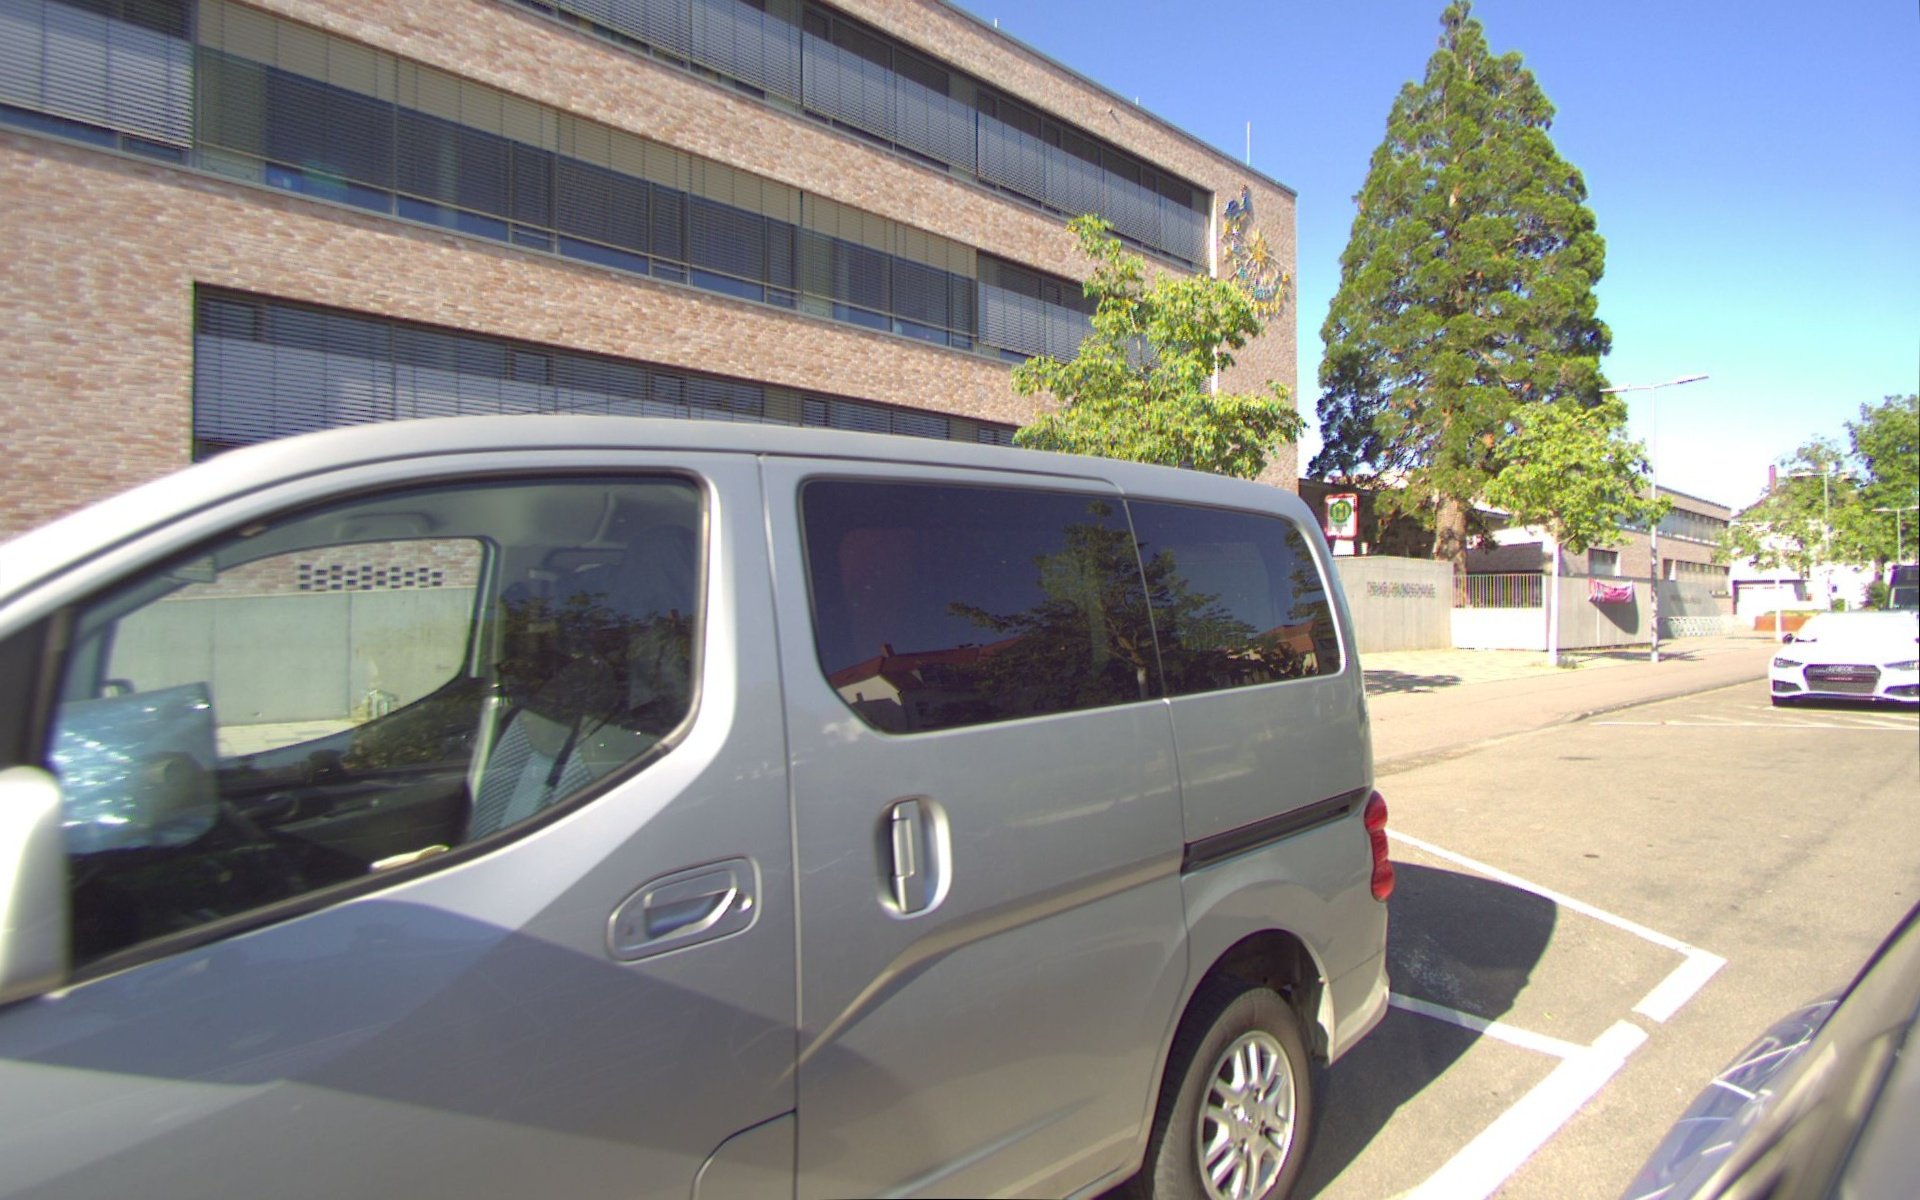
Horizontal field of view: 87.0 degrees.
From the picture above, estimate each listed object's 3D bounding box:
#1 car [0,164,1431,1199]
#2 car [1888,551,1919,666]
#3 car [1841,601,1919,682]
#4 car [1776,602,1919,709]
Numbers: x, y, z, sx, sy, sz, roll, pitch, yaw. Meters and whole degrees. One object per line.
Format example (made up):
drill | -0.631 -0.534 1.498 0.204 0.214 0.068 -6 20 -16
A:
car | -0.977 0.533 2.091 4.333 1.879 1.798 1 -2 -39
car | 23.920 0.191 24.103 6.420 2.548 2.118 0 0 -43
car | 18.841 0.741 19.636 4.554 1.438 1.997 0 0 -40
car | 14.162 0.745 15.551 4.577 1.438 1.797 0 0 -42
